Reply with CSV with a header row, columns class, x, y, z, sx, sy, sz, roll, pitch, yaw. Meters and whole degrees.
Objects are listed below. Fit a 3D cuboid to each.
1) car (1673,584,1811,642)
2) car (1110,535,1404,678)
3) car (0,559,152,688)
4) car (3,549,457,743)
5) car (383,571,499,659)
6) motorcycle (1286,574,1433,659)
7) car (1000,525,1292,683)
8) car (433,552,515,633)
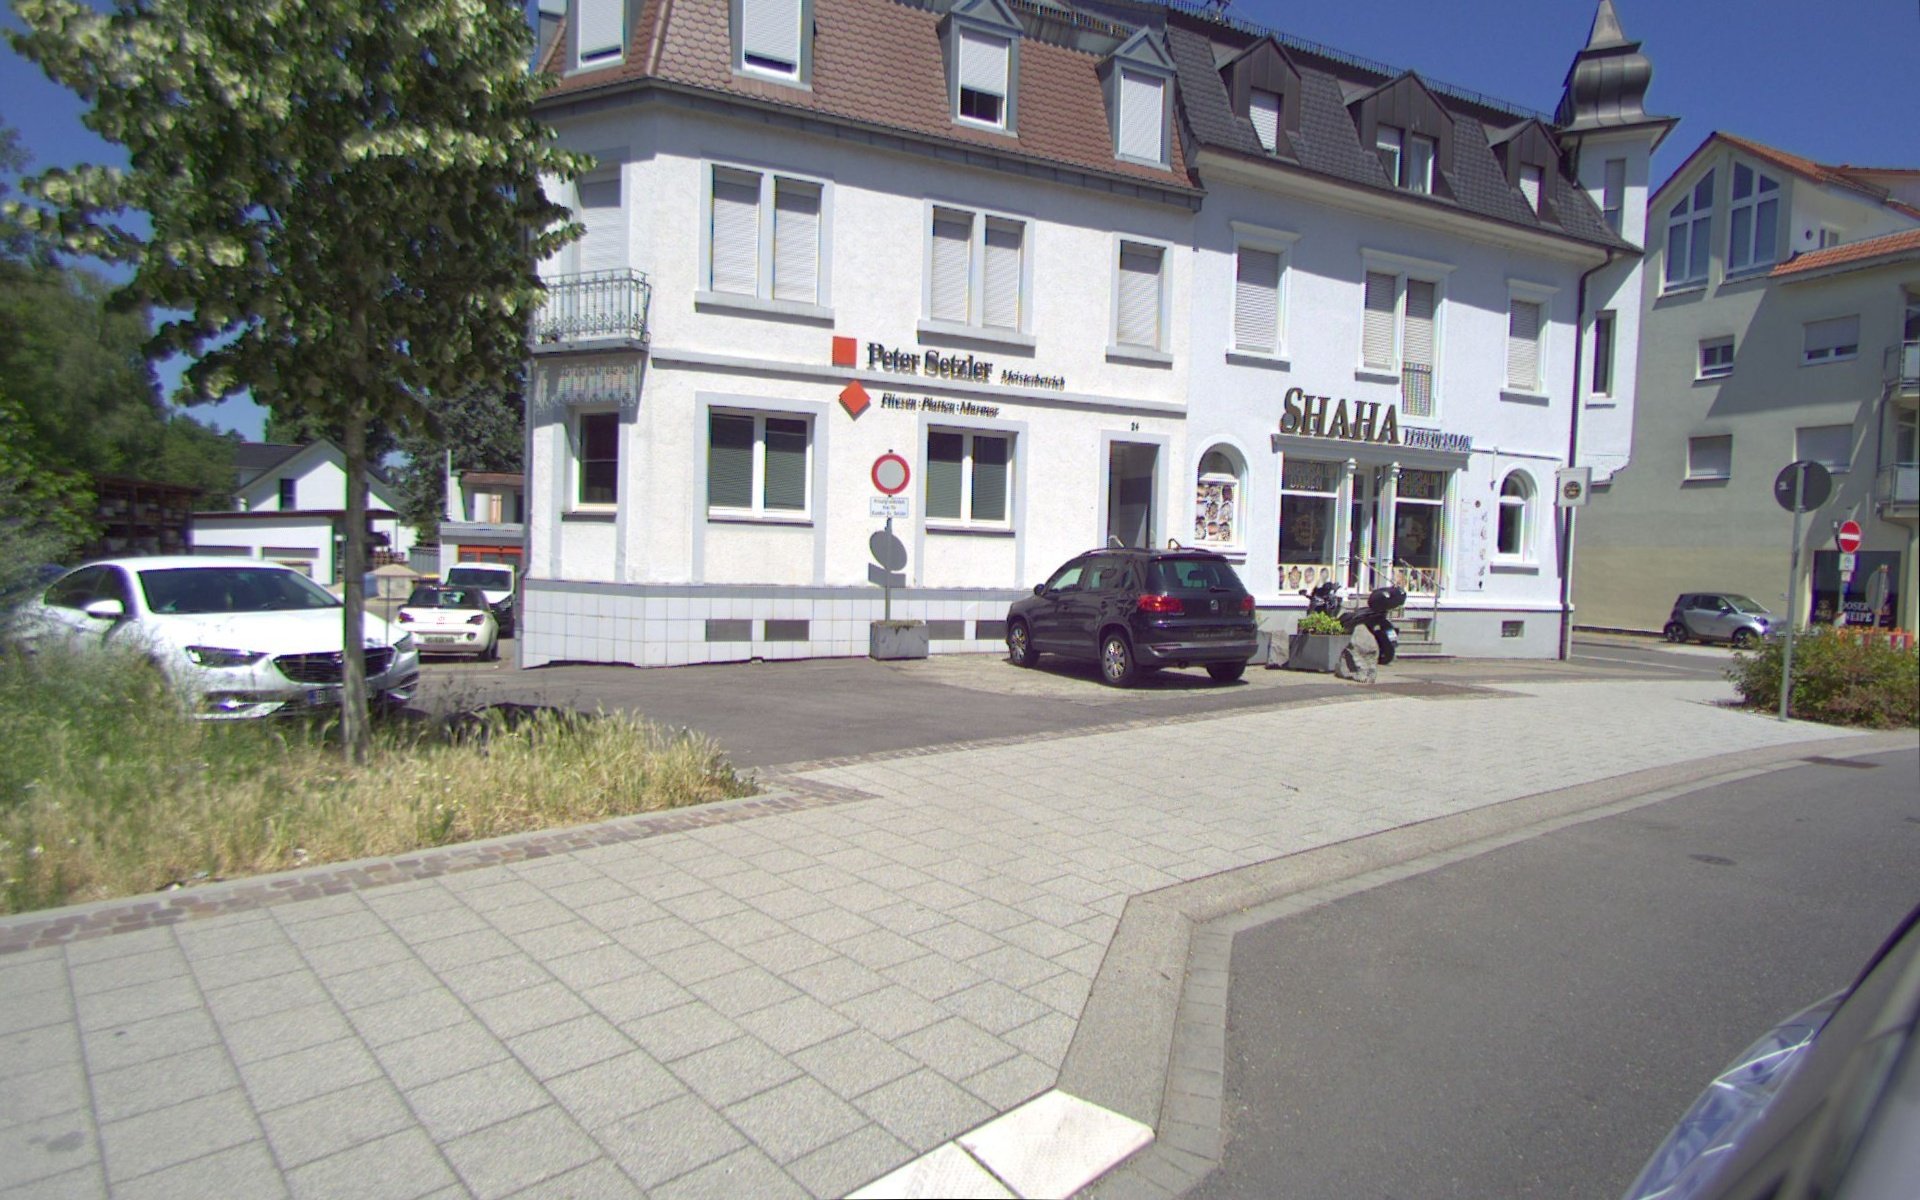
class,x,y,z,sx,sy,sz,roll,pitch,yaw
car,22.358,0.330,29.025,1.498,1.489,2.743,-1,3,-22
car,4.030,0.018,14.485,1.817,1.737,4.097,1,2,-23
car,-11.994,0.199,12.684,4.176,1.366,1.838,2,4,35
car,-6.585,0.259,9.037,4.169,1.367,1.840,2,1,31
car,-10.247,0.303,20.234,1.762,1.562,4.037,1,-1,-23
motorcycle,6.648,0.239,17.008,0.838,1.291,2.390,1,2,-22
car,2.236,-0.019,13.406,1.817,1.737,4.097,1,2,-23
car,-14.215,-0.277,29.617,1.959,2.156,5.106,1,2,-26
